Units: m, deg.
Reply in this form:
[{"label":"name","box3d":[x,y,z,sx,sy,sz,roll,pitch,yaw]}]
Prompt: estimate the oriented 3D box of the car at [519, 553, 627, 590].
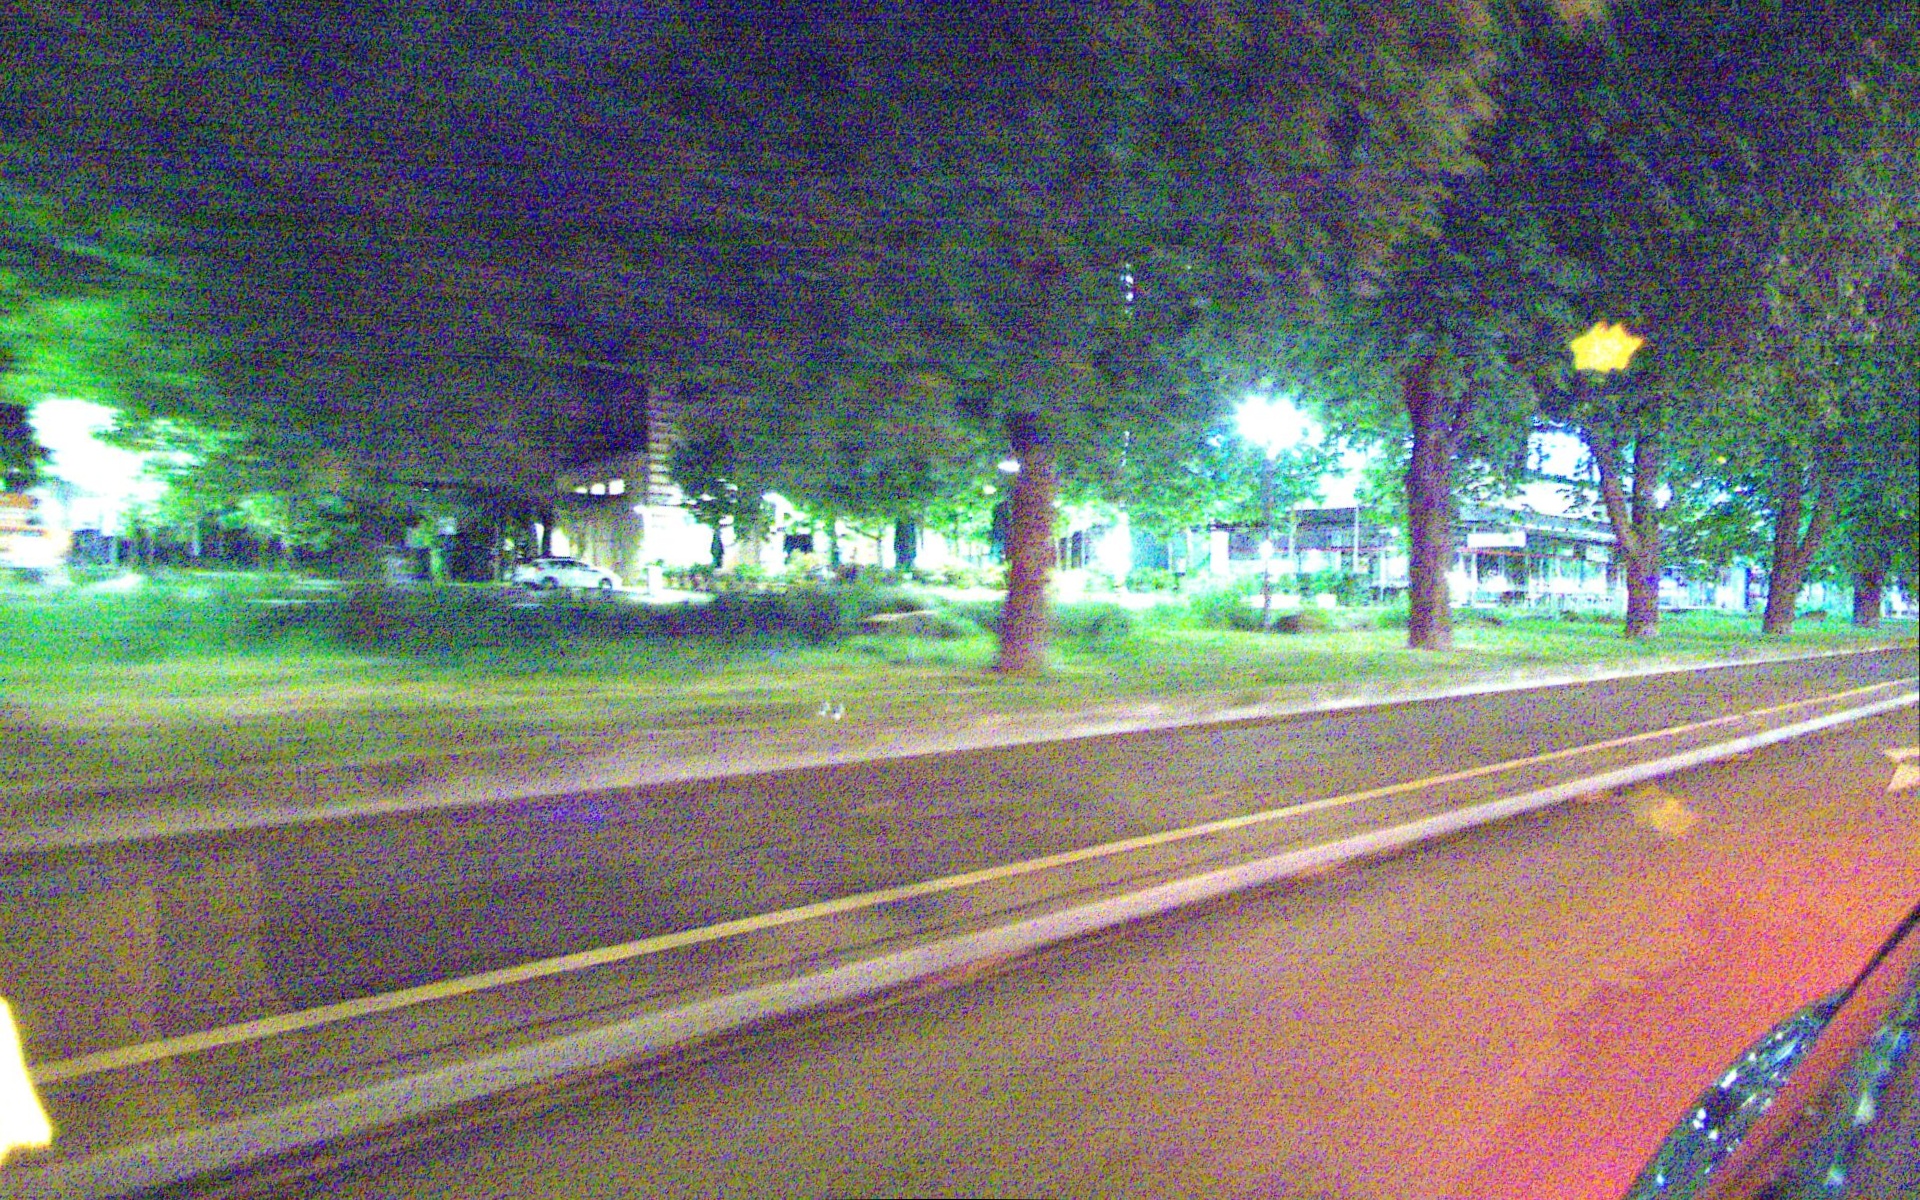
[{"label":"car","box3d":[-17.753,-1.304,46.497,4.222,1.526,1.999,0,2,-38]}]
